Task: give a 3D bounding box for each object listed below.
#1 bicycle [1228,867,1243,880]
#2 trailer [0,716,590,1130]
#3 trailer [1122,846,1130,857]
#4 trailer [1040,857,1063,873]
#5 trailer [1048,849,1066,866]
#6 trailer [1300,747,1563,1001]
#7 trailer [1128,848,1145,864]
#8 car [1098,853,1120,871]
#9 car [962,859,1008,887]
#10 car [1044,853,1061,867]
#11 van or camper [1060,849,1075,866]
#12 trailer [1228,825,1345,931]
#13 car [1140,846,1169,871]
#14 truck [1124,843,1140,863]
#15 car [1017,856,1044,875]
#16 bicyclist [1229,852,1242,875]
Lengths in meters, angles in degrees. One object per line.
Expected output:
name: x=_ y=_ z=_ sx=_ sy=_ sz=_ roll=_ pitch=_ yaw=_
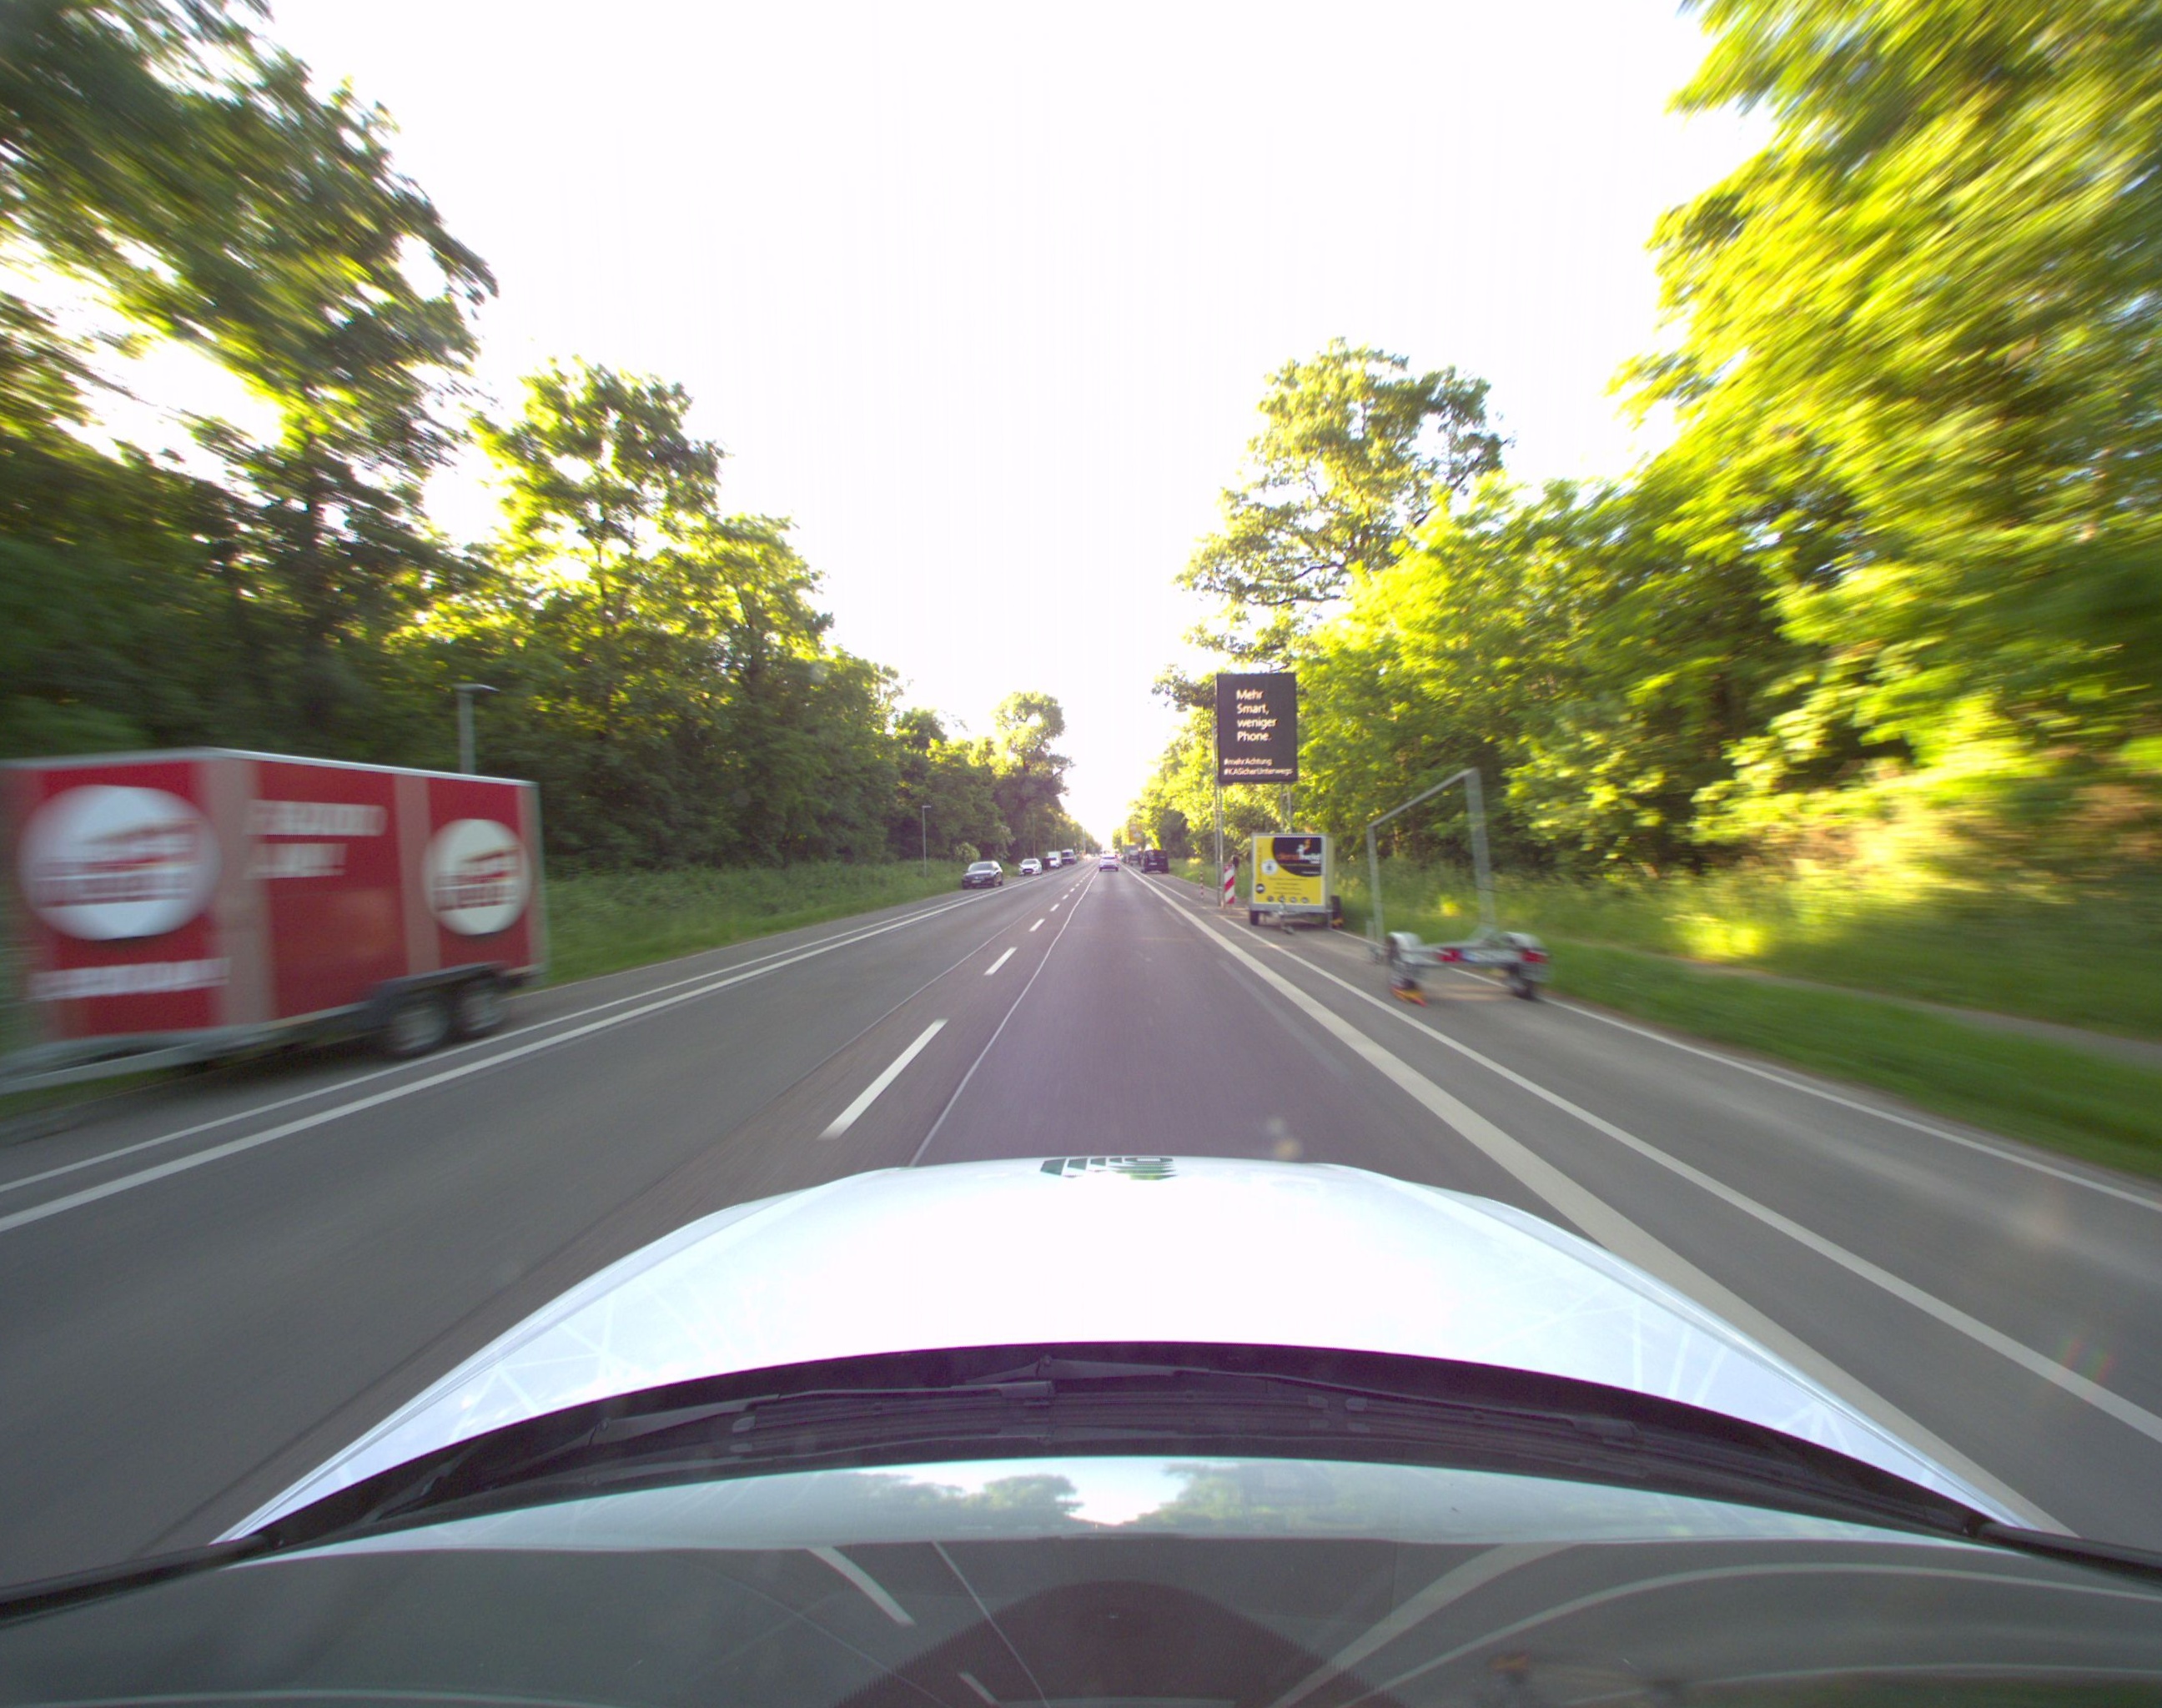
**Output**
bicycle: x=9.141 y=1.165 z=48.299 sx=0.589 sy=0.692 sz=1.997 roll=-1 pitch=0 yaw=2
trailer: x=-6.709 y=0.454 z=7.275 sx=1.986 sy=2.621 sz=4.088 roll=-2 pitch=0 yaw=2
trailer: x=9.091 y=-0.575 z=165.318 sx=1.494 sy=2.235 sz=4.552 roll=0 pitch=0 yaw=2
trailer: x=-3.125 y=1.166 z=87.068 sx=1.383 sy=1.574 sz=2.689 roll=-2 pitch=0 yaw=22
trailer: x=-3.291 y=0.498 z=114.147 sx=2.066 sy=2.293 sz=3.490 roll=-3 pitch=0 yaw=4
trailer: x=4.006 y=0.206 z=10.076 sx=1.607 sy=2.508 sz=4.001 roll=-1 pitch=0 yaw=2
trailer: x=7.604 y=0.259 z=111.971 sx=1.600 sy=2.112 sz=2.409 roll=-1 pitch=0 yaw=22
car: x=2.696 y=0.721 z=77.495 sx=1.986 sy=1.640 sz=4.002 roll=-2 pitch=0 yaw=2
car: x=-5.396 y=1.040 z=46.188 sx=1.848 sy=1.464 sz=4.786 roll=-2 pitch=0 yaw=2
car: x=-3.529 y=0.732 z=100.856 sx=1.808 sy=1.571 sz=4.206 roll=-4 pitch=0 yaw=0
van or camper: x=-2.352 y=0.640 z=145.227 sx=2.293 sy=2.768 sz=5.560 roll=-4 pitch=0 yaw=2
trailer: x=4.568 y=0.451 z=17.677 sx=1.945 sy=2.022 sz=3.864 roll=-1 pitch=0 yaw=21
car: x=6.047 y=0.374 z=67.581 sx=2.105 sy=2.013 sz=5.042 roll=0 pitch=0 yaw=2
truck: x=8.868 y=-0.152 z=141.766 sx=2.495 sy=3.366 sz=7.111 roll=-1 pitch=0 yaw=2
car: x=-4.475 y=0.999 z=72.876 sx=1.860 sy=1.450 sz=4.073 roll=-4 pitch=0 yaw=2
bicyclist: x=9.140 y=0.562 z=48.216 sx=0.608 sy=1.324 sz=1.176 roll=-1 pitch=0 yaw=2
